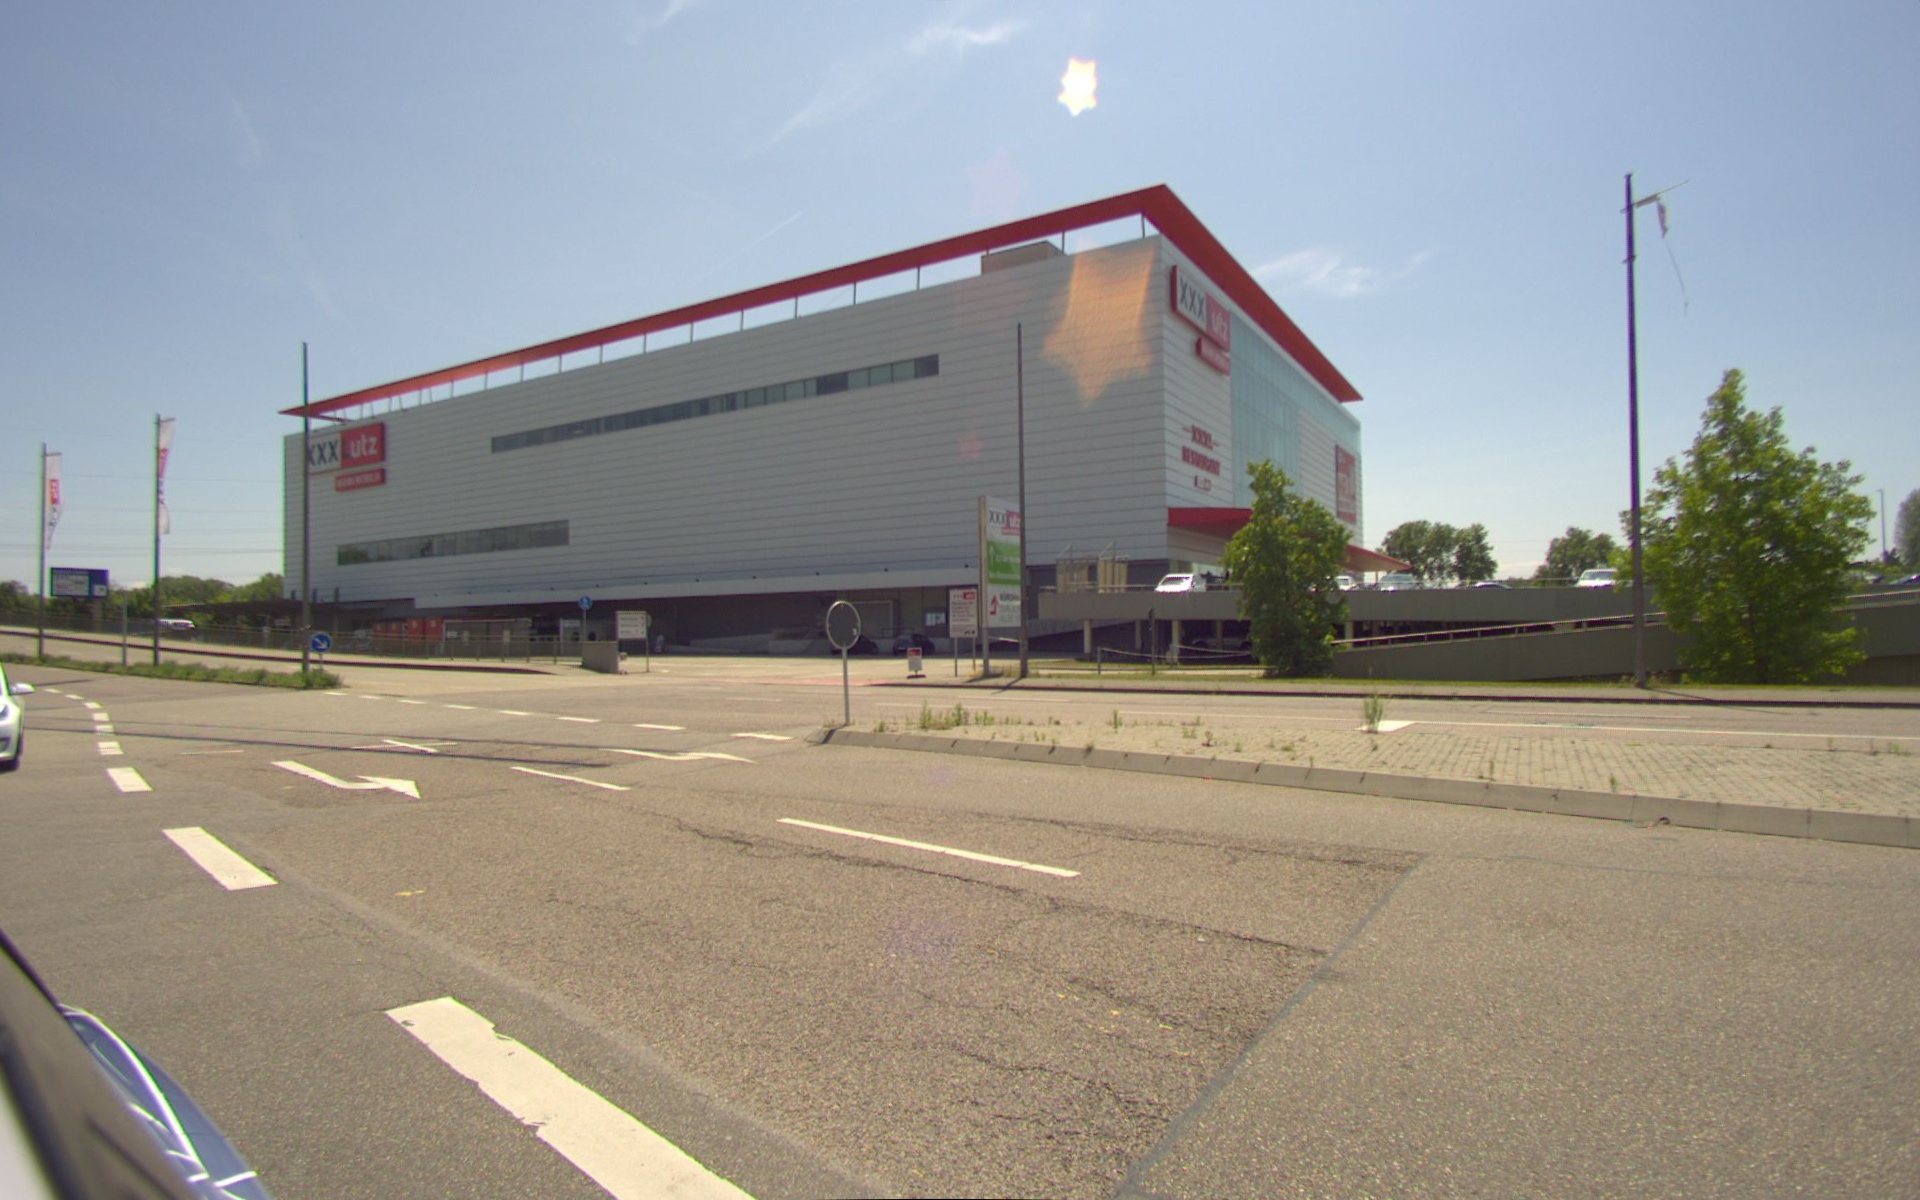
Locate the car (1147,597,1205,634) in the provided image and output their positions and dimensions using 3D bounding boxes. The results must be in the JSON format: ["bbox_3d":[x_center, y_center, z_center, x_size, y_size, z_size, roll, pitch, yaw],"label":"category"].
[{"bbox_3d":[10.440,0.774,48.768,1.702,1.709,3.445,-2,-3,31],"label":"car"}]

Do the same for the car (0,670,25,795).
[{"bbox_3d":[-13.247,1.629,12.700,4.406,1.436,1.854,-4,-6,43],"label":"car"}]

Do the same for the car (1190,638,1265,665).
[{"bbox_3d":[17.300,3.344,65.466,4.392,1.701,1.982,-2,-3,26],"label":"car"}]

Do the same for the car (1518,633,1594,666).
[{"bbox_3d":[38.068,3.142,64.657,3.990,2.029,1.976,-2,-3,35],"label":"car"}]

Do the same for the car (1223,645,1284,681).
[{"bbox_3d":[14.512,3.075,49.874,1.992,1.626,3.958,-2,-3,30],"label":"car"}]

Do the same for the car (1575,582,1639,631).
[{"bbox_3d":[25.808,0.308,40.437,1.993,1.781,4.155,-2,-3,32],"label":"car"}]

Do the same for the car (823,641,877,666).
[{"bbox_3d":[-7.548,3.694,69.897,1.904,1.632,3.712,-2,-3,29],"label":"car"}]

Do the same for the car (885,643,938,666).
[{"bbox_3d":[-3.207,3.637,67.722,1.952,1.507,3.449,-2,-3,31],"label":"car"}]

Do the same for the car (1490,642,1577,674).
[{"bbox_3d":[31.863,3.210,56.252,3.989,1.741,1.977,-2,-3,34],"label":"car"}]
